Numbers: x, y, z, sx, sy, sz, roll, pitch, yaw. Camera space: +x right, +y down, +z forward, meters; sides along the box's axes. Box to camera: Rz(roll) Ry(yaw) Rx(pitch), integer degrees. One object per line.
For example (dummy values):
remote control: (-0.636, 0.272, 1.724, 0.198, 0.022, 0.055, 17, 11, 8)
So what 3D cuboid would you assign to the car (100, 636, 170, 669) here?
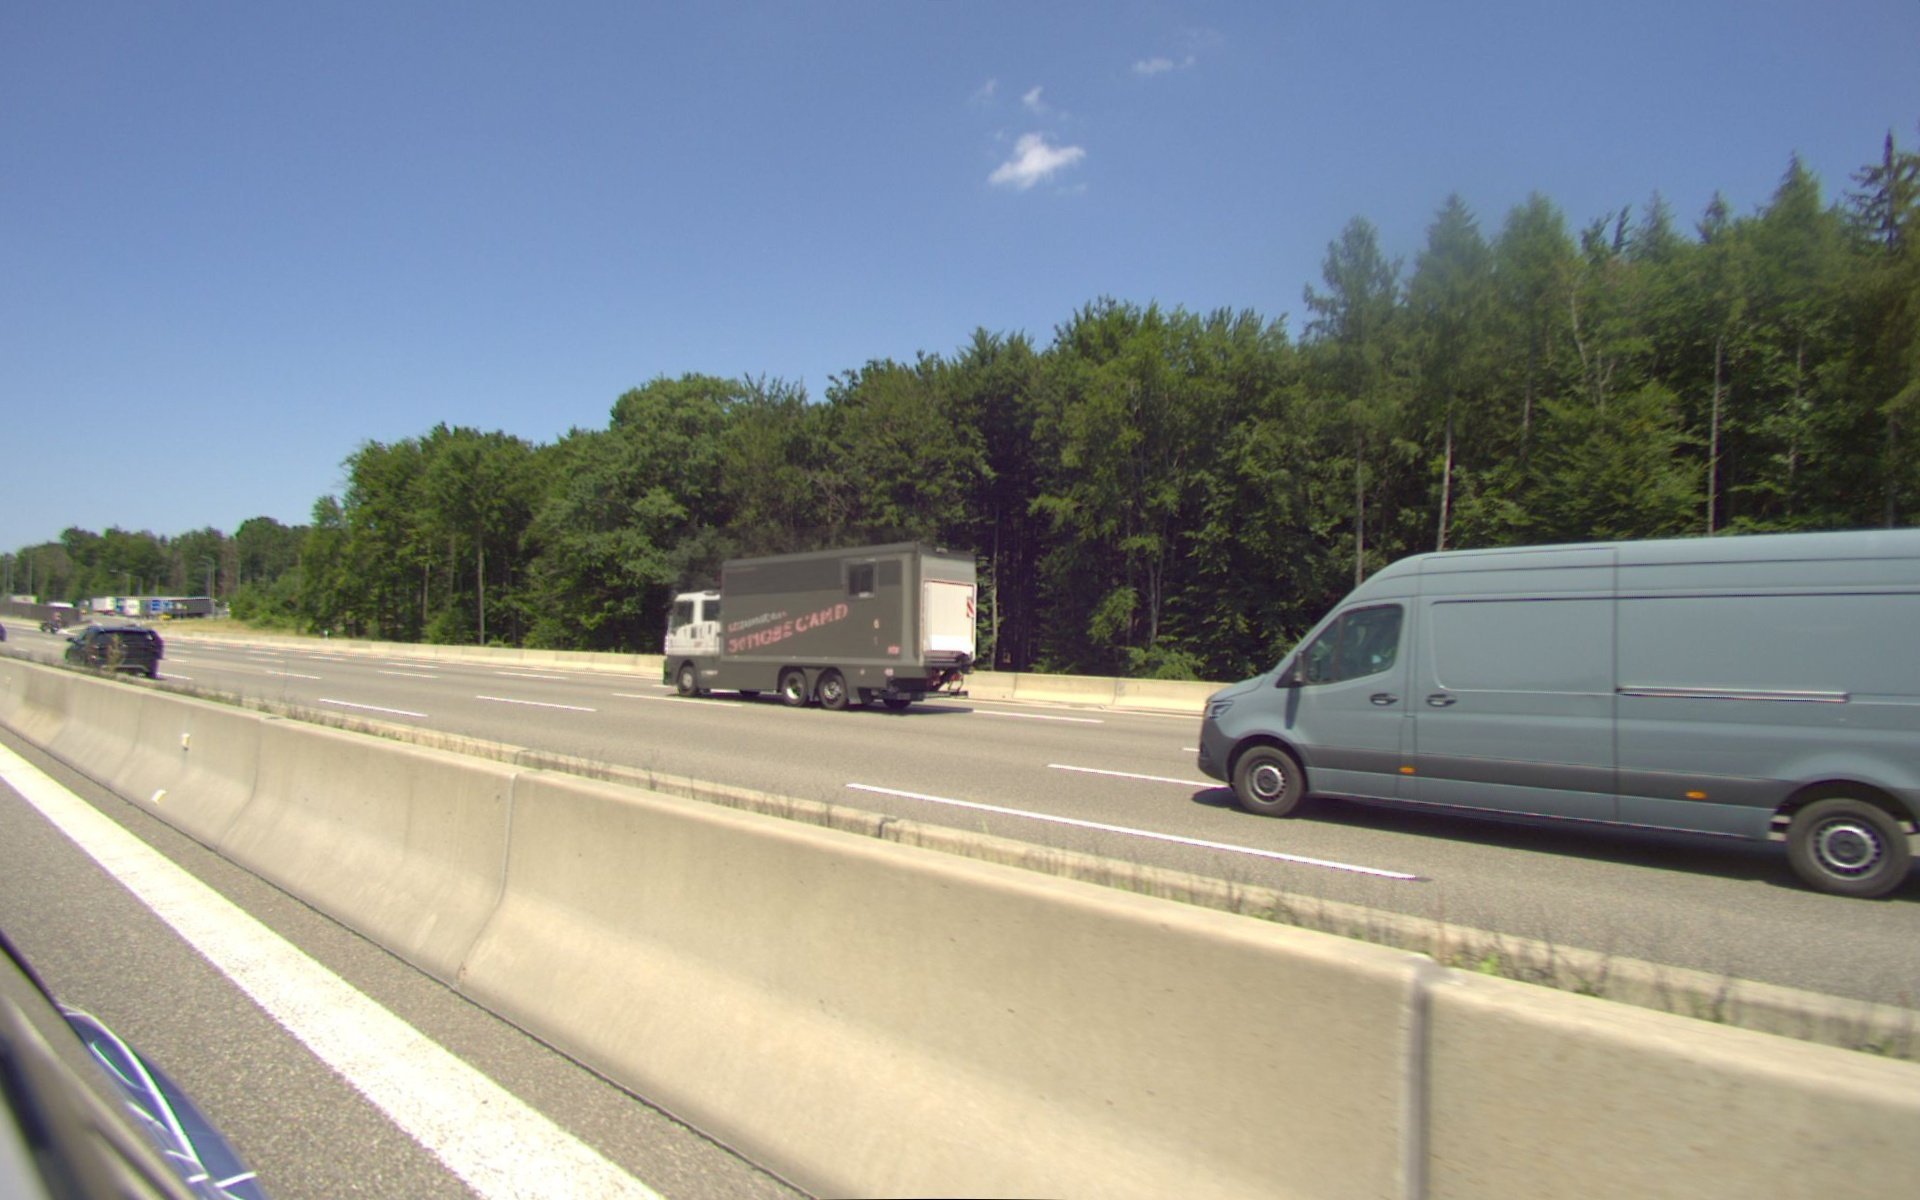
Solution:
car: (-38.853, 2.435, 47.615, 4.905, 1.460, 1.699, -2, -3, 41)

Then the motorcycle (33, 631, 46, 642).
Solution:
motorcycle: (-105.386, 4.176, 115.908, 2.755, 1.150, 0.769, -1, -3, 41)

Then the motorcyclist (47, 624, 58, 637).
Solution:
motorcyclist: (-96.435, 3.233, 107.553, 1.077, 1.311, 0.752, 1, -2, 41)

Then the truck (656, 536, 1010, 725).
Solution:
truck: (-3.616, 0.710, 25.609, 10.231, 3.969, 2.691, 0, -3, 41)

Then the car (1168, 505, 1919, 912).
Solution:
car: (5.428, 0.776, 8.511, 7.227, 2.627, 1.910, -2, -4, 41)

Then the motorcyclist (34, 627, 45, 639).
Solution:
motorcyclist: (-105.456, 3.753, 115.973, 1.077, 1.311, 0.761, 0, -3, 41)

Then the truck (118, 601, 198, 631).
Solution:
truck: (-158.492, 3.343, 200.344, 3.399, 5.655, 16.725, 1, -2, -4)

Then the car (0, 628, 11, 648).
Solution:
car: (-69.199, 2.662, 71.874, 5.038, 1.360, 1.903, -1, -2, 39)

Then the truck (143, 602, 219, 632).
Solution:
truck: (-155.038, 3.487, 201.827, 3.175, 5.655, 16.725, 1, -2, -4)

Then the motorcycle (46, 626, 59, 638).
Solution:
motorcycle: (-96.440, 3.398, 107.546, 2.349, 1.223, 0.730, 0, -3, 42)

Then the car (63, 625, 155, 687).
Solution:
car: (-25.211, 1.614, 29.951, 3.849, 1.674, 1.597, -1, -3, 43)
